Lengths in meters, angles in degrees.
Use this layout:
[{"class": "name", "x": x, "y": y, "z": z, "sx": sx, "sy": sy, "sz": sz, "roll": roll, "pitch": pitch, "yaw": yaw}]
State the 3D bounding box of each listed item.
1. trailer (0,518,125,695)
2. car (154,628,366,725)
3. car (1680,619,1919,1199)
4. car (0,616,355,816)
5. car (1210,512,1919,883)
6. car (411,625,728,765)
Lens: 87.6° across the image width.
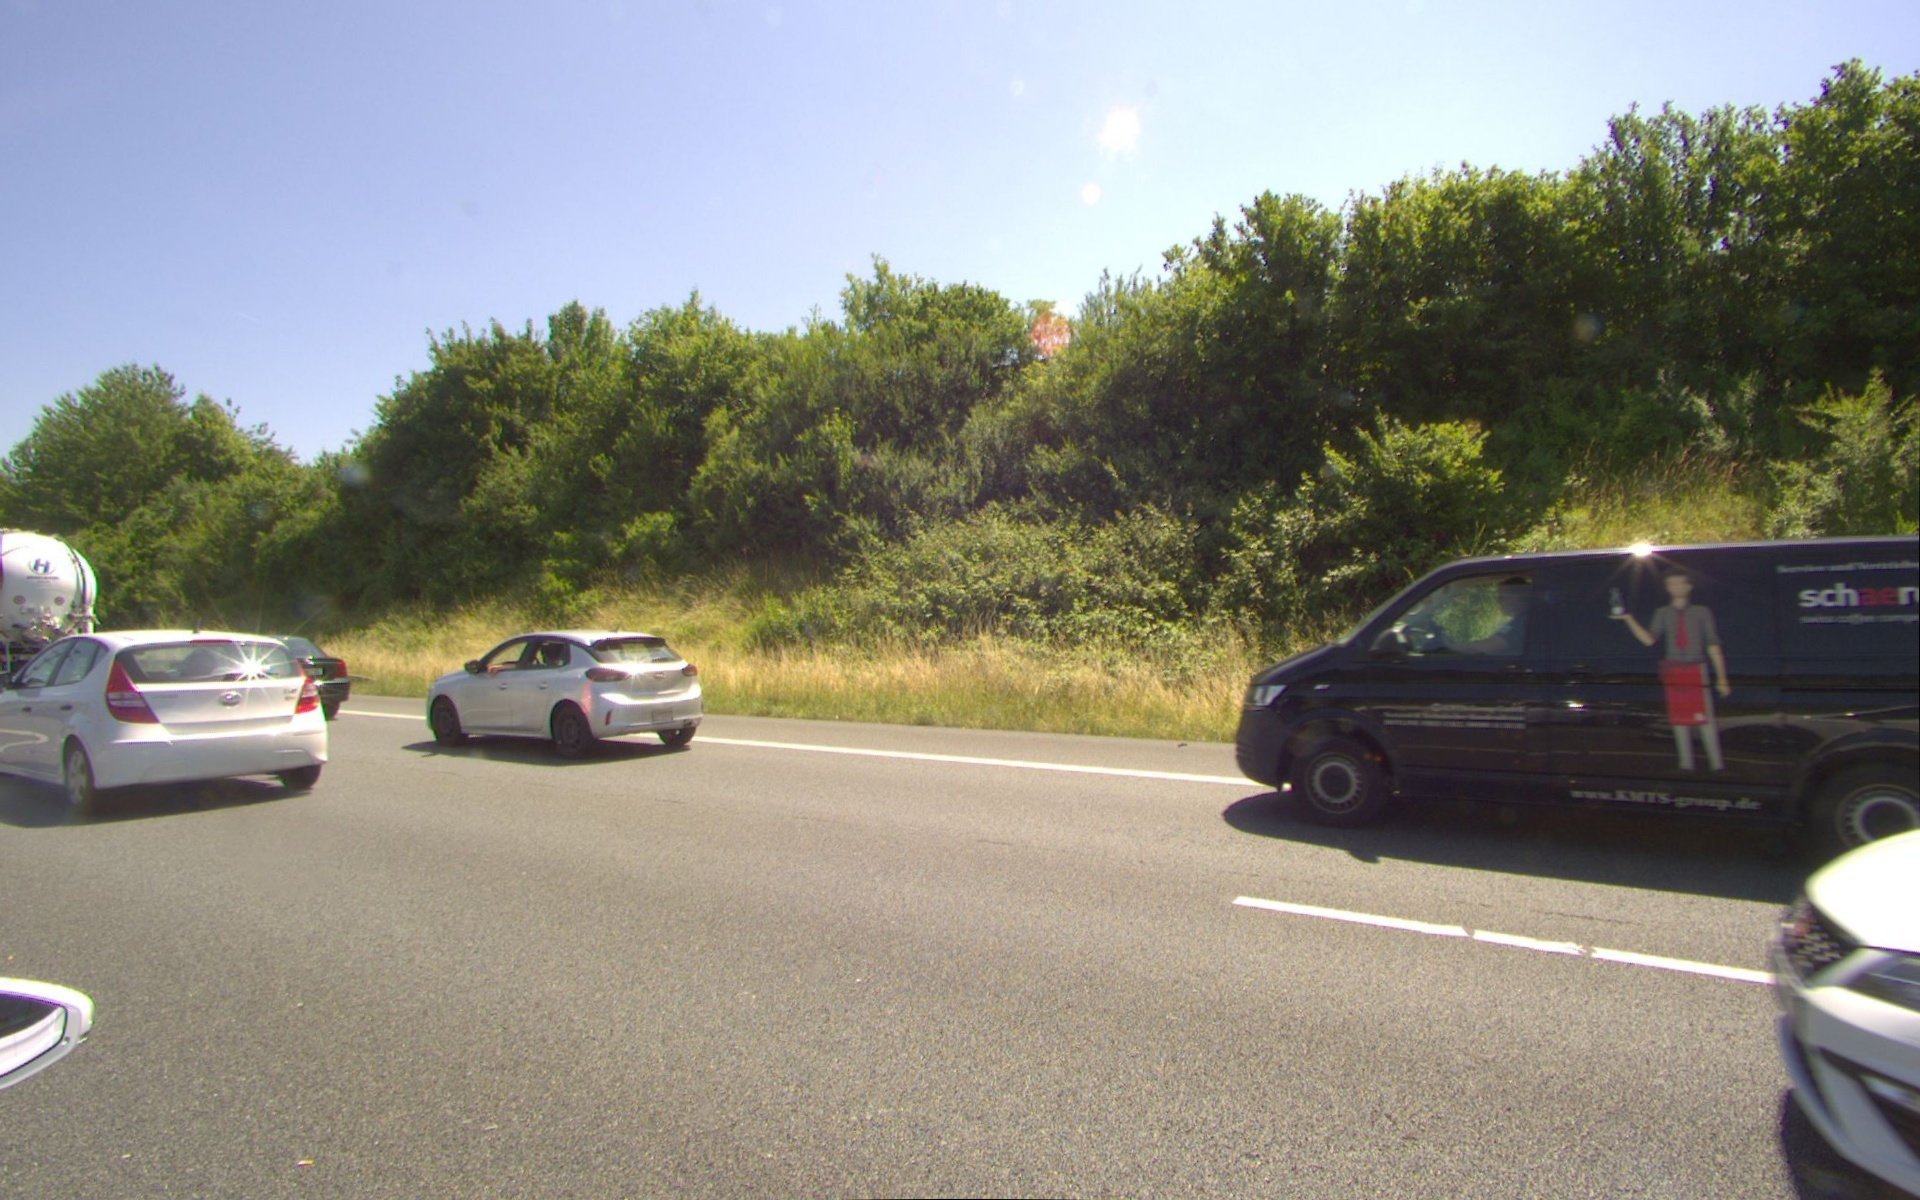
[{"class": "trailer", "x": -25.513, "y": 0.248, "z": 25.866, "sx": 11.322, "sy": 3.895, "sz": 2.755, "roll": -1, "pitch": -1, "yaw": 32}, {"class": "car", "x": -12.012, "y": 1.250, "z": 17.125, "sx": 3.934, "sy": 1.435, "sz": 1.637, "roll": -2, "pitch": 0, "yaw": 34}, {"class": "car", "x": 3.908, "y": 0.741, "z": 1.696, "sx": 4.254, "sy": 1.462, "sz": 1.743, "roll": -2, "pitch": -1, "yaw": 34}, {"class": "car", "x": -7.641, "y": 0.950, "z": 9.467, "sx": 3.946, "sy": 1.504, "sz": 1.812, "roll": -2, "pitch": -1, "yaw": 34}, {"class": "car", "x": 4.386, "y": 0.568, "z": 6.927, "sx": 4.790, "sy": 1.965, "sz": 1.909, "roll": -2, "pitch": -1, "yaw": 34}, {"class": "car", "x": -4.963, "y": 1.065, "z": 12.590, "sx": 3.971, "sy": 1.462, "sz": 1.727, "roll": 0, "pitch": 0, "yaw": 33}]
